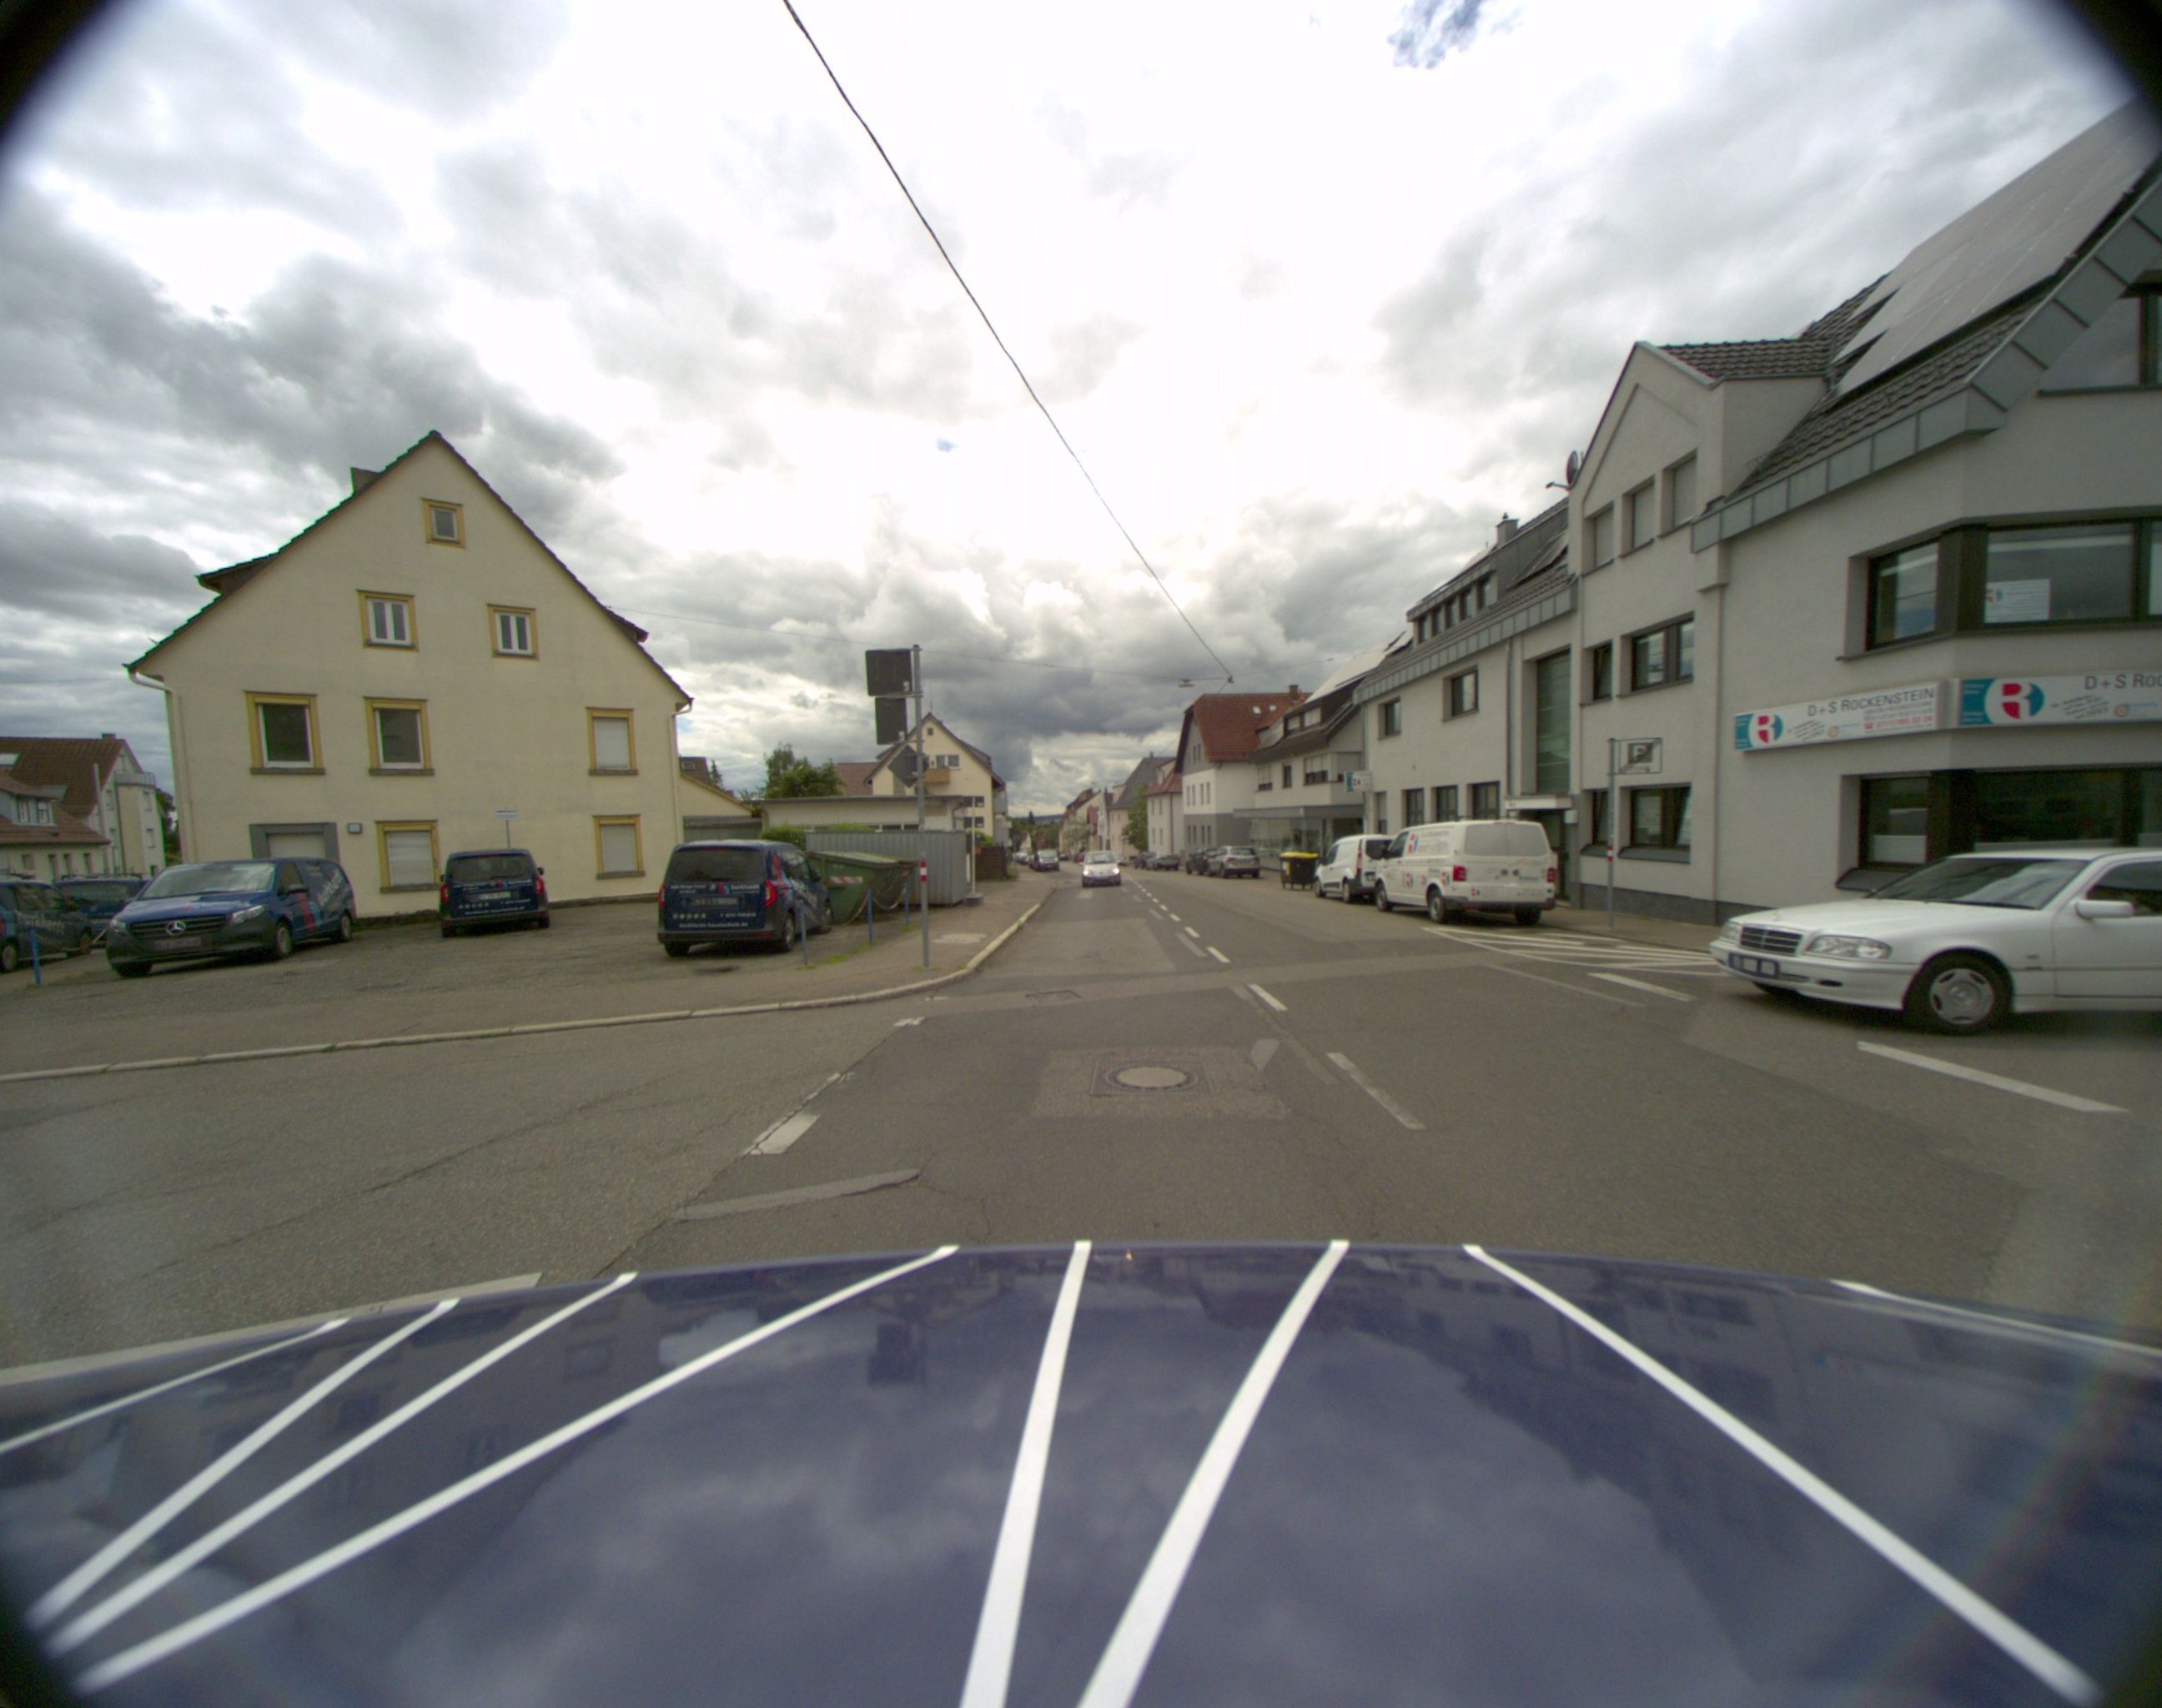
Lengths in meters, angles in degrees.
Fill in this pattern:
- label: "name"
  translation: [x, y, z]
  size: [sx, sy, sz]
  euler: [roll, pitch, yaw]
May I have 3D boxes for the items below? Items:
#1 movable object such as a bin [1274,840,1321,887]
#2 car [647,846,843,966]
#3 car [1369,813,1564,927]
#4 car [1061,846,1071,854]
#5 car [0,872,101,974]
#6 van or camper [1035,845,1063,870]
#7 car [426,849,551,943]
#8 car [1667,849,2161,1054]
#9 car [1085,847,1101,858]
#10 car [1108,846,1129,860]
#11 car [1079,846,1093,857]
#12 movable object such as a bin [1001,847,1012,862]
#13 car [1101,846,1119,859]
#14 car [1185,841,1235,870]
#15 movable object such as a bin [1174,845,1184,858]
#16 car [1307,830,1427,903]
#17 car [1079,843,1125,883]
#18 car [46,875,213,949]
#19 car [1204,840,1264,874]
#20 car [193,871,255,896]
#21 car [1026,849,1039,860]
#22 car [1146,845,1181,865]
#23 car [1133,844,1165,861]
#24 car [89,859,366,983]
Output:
- label: "movable object such as a bin"
  translation: [7.799, 0.318, 27.472]
  size: [1.143, 1.623, 1.562]
  euler: [-1, 1, -5]
- label: "car"
  translation: [-5.537, 0.723, 13.228]
  size: [1.751, 1.729, 4.569]
  euler: [0, 1, -5]
- label: "car"
  translation: [7.648, 0.251, 15.688]
  size: [1.816, 1.994, 4.763]
  euler: [0, 1, 3]
- label: "car"
  translation: [-3.042, -0.808, 150.385]
  size: [1.707, 1.524, 3.733]
  euler: [1, 1, -6]
- label: "car"
  translation: [-22.142, 1.346, 15.287]
  size: [1.778, 1.932, 4.313]
  euler: [-1, -1, -36]
- label: "van or camper"
  translation: [-2.932, 0.258, 68.786]
  size: [1.999, 2.002, 5.060]
  euler: [-5, 1, -6]
- label: "car"
  translation: [-13.063, 0.863, 16.985]
  size: [1.872, 1.718, 3.990]
  euler: [-5, 2, -35]
- label: "car"
  translation: [8.031, 0.686, 6.354]
  size: [4.562, 1.437, 2.001]
  euler: [0, 1, 6]
- label: "car"
  translation: [1.559, -0.234, 100.595]
  size: [1.707, 1.402, 3.733]
  euler: [1, 1, -6]
- label: "car"
  translation: [3.988, -0.089, 81.303]
  size: [1.654, 1.438, 3.809]
  euler: [-1, 1, -5]
- label: "car"
  translation: [0.705, -0.413, 113.430]
  size: [1.707, 1.524, 3.733]
  euler: [1, 1, -6]
- label: "movable object such as a bin"
  translation: [-7.902, 0.049, 80.698]
  size: [1.083, 1.429, 1.259]
  euler: [-4, 2, -6]
- label: "car"
  translation: [3.240, -0.229, 86.447]
  size: [1.654, 1.438, 3.772]
  euler: [-1, 1, -3]
- label: "car"
  translation: [7.451, 0.071, 44.257]
  size: [1.843, 1.623, 4.405]
  euler: [0, 1, -5]
- label: "movable object such as a bin"
  translation: [8.743, -0.226, 68.094]
  size: [0.679, 1.039, 0.758]
  euler: [-4, 2, -6]
- label: "car"
  translation: [7.807, 0.281, 21.187]
  size: [1.737, 1.821, 4.297]
  euler: [0, 1, 1]
- label: "car"
  translation: [0.884, 0.345, 34.696]
  size: [1.721, 1.587, 3.998]
  euler: [-4, 1, -3]
- label: "car"
  translation: [-26.403, 1.530, 21.273]
  size: [1.725, 1.721, 3.990]
  euler: [-5, 2, -34]
- label: "car"
  translation: [7.751, 0.128, 38.969]
  size: [1.843, 1.623, 4.405]
  euler: [-1, 1, -5]
- label: "car"
  translation: [-59.992, 2.034, 53.243]
  size: [1.879, 1.587, 3.891]
  euler: [-5, 2, -34]
- label: "car"
  translation: [-7.228, 0.037, 113.083]
  size: [1.614, 1.447, 3.856]
  euler: [-4, 1, -6]
- label: "car"
  translation: [6.278, 0.039, 58.234]
  size: [1.843, 1.437, 4.465]
  euler: [0, 1, -5]
- label: "car"
  translation: [5.785, -0.125, 64.872]
  size: [1.843, 1.437, 3.996]
  euler: [0, 1, -8]
- label: "car"
  translation: [-15.597, 1.080, 14.302]
  size: [1.905, 1.792, 4.882]
  euler: [-5, 1, -30]
